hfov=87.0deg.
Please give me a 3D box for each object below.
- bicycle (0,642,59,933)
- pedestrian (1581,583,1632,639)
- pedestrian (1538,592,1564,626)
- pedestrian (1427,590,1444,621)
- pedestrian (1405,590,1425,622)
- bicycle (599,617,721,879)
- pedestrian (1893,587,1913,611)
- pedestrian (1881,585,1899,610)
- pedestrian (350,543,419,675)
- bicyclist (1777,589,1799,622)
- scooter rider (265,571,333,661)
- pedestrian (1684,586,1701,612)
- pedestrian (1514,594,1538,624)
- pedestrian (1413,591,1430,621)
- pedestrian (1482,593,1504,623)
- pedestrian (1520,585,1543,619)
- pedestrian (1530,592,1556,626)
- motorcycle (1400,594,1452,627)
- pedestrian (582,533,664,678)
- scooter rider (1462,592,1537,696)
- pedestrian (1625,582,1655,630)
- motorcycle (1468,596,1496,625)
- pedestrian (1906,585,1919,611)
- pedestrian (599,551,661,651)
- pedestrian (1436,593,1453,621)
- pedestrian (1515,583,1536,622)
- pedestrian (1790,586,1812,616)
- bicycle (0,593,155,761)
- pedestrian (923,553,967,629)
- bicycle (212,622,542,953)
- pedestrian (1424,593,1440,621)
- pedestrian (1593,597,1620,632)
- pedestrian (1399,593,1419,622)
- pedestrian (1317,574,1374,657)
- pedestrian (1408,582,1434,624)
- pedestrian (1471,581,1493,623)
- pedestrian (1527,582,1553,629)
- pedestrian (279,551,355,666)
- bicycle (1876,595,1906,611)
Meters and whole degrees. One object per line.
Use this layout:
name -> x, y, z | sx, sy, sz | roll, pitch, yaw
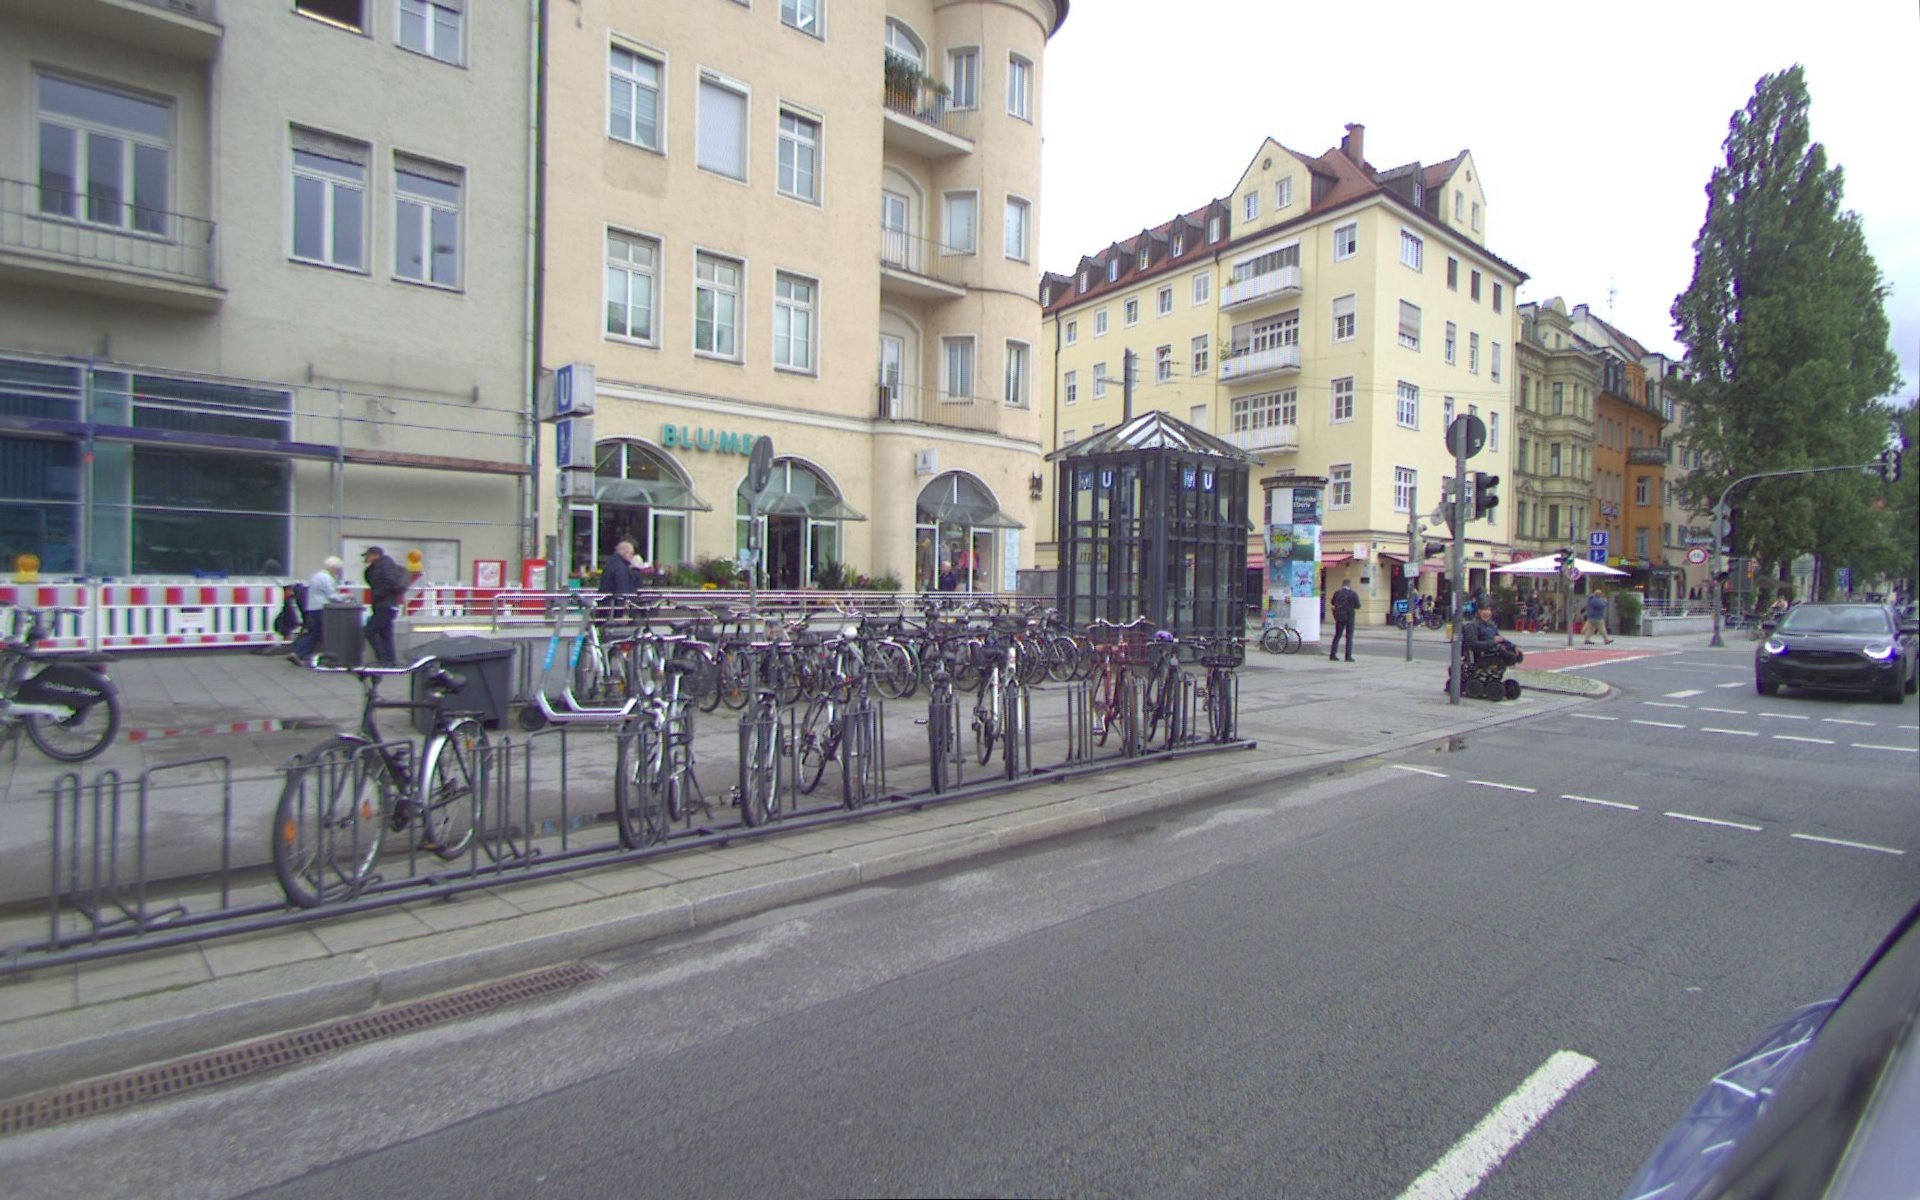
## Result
bicycle -> -4.037, 0.755, 3.325 | 0.639, 1.125, 1.807 | 1, 1, -5
pedestrian -> 21.057, 0.357, 32.964 | 1.043, 1.777, 0.938 | 1, 1, -26
pedestrian -> 23.692, 0.353, 40.573 | 0.782, 1.328, 0.679 | 0, 1, -41
pedestrian -> 20.393, 0.247, 43.427 | 0.518, 1.315, 0.479 | 0, 1, -43
pedestrian -> 19.379, 0.249, 43.093 | 0.691, 1.308, 0.515 | 0, 1, -43
bicycle -> -1.642, 0.719, 5.723 | 0.477, 1.172, 1.808 | 1, 1, -11
pedestrian -> 66.859, -0.079, 71.759 | 0.743, 1.658, 0.700 | 1, 0, 5
pedestrian -> 65.939, -0.175, 71.747 | 0.638, 1.803, 0.702 | 1, 0, -8
pedestrian -> -7.609, 0.104, 13.372 | 0.707, 1.691, 0.660 | 1, 2, -35
bicyclist -> 41.729, 0.283, 51.004 | 0.923, 1.623, 0.681 | 0, 1, -42
scooter rider -> -9.623, 0.219, 14.729 | 0.707, 1.234, 0.686 | 1, 2, -43
pedestrian -> 50.073, -0.084, 69.164 | 0.999, 1.735, 0.747 | 0, 1, -42
pedestrian -> 23.072, 0.364, 41.262 | 0.688, 1.218, 0.627 | 0, 1, -41
pedestrian -> 19.989, 0.258, 43.804 | 0.518, 1.315, 0.479 | 0, 1, -43
pedestrian -> 22.610, 0.338, 42.915 | 0.654, 1.237, 0.601 | 0, 1, -41
pedestrian -> 24.434, 0.091, 43.233 | 0.606, 1.440, 0.676 | 0, 1, -41
pedestrian -> 23.038, 0.354, 39.994 | 0.782, 1.328, 0.679 | 0, 1, -41
motorcycle -> 18.027, 0.384, 39.180 | 1.744, 1.215, 0.539 | 1, 1, 19
pedestrian -> -4.258, 0.052, 12.768 | 0.744, 1.749, 0.816 | 1, 2, -34
scooter rider -> 7.680, 0.619, 14.416 | 0.689, 1.406, 0.643 | 2, 2, -36
pedestrian -> 25.792, 0.210, 38.383 | 0.877, 1.765, 0.848 | 1, 1, 32
motorcycle -> 21.263, 0.425, 41.220 | 1.544, 1.171, 0.487 | 0, 1, -41
pedestrian -> 67.903, -0.123, 71.872 | 0.741, 1.824, 0.883 | 1, 0, -31
pedestrian -> -5.701, 0.001, 17.473 | 0.745, 1.671, 0.752 | 1, 2, -43
pedestrian -> 21.155, 0.303, 44.173 | 0.518, 1.180, 0.479 | 0, 1, -43
pedestrian -> 24.642, 0.095, 44.104 | 0.666, 1.653, 0.616 | 0, 1, -41
pedestrian -> 45.194, 0.061, 54.388 | 0.749, 1.582, 0.761 | 1, 0, -40
bicycle -> -6.783, 0.536, 7.191 | 1.688, 1.156, 0.370 | 1, 1, -9
pedestrian -> -0.341, -0.222, 23.403 | 0.670, 1.727, 0.746 | 1, 1, -37
bicycle -> -2.579, 0.731, 4.736 | 0.639, 1.172, 1.807 | 1, 1, -6
pedestrian -> 20.757, 0.308, 44.529 | 0.518, 1.180, 0.479 | 0, 1, -43
pedestrian -> 24.852, 0.555, 38.899 | 0.782, 1.327, 0.679 | 0, 1, -41
pedestrian -> 18.823, 0.326, 42.453 | 0.691, 1.197, 0.515 | 0, 1, -43
pedestrian -> 8.130, 0.308, 21.349 | 0.803, 1.712, 0.838 | 1, 1, -4
pedestrian -> 18.745, 0.123, 41.165 | 0.773, 1.653, 0.711 | 0, 1, -41
pedestrian -> 22.489, 0.085, 43.605 | 0.654, 1.761, 0.601 | 0, 1, -41
pedestrian -> 21.802, 0.189, 38.054 | 0.752, 1.716, 0.762 | 1, 1, 23
pedestrian -> -8.997, 0.100, 14.155 | 0.745, 1.536, 0.778 | 1, 2, -43
bicycle -> 65.917, 0.192, 71.662 | 0.352, 1.116, 1.748 | 1, 1, -7
